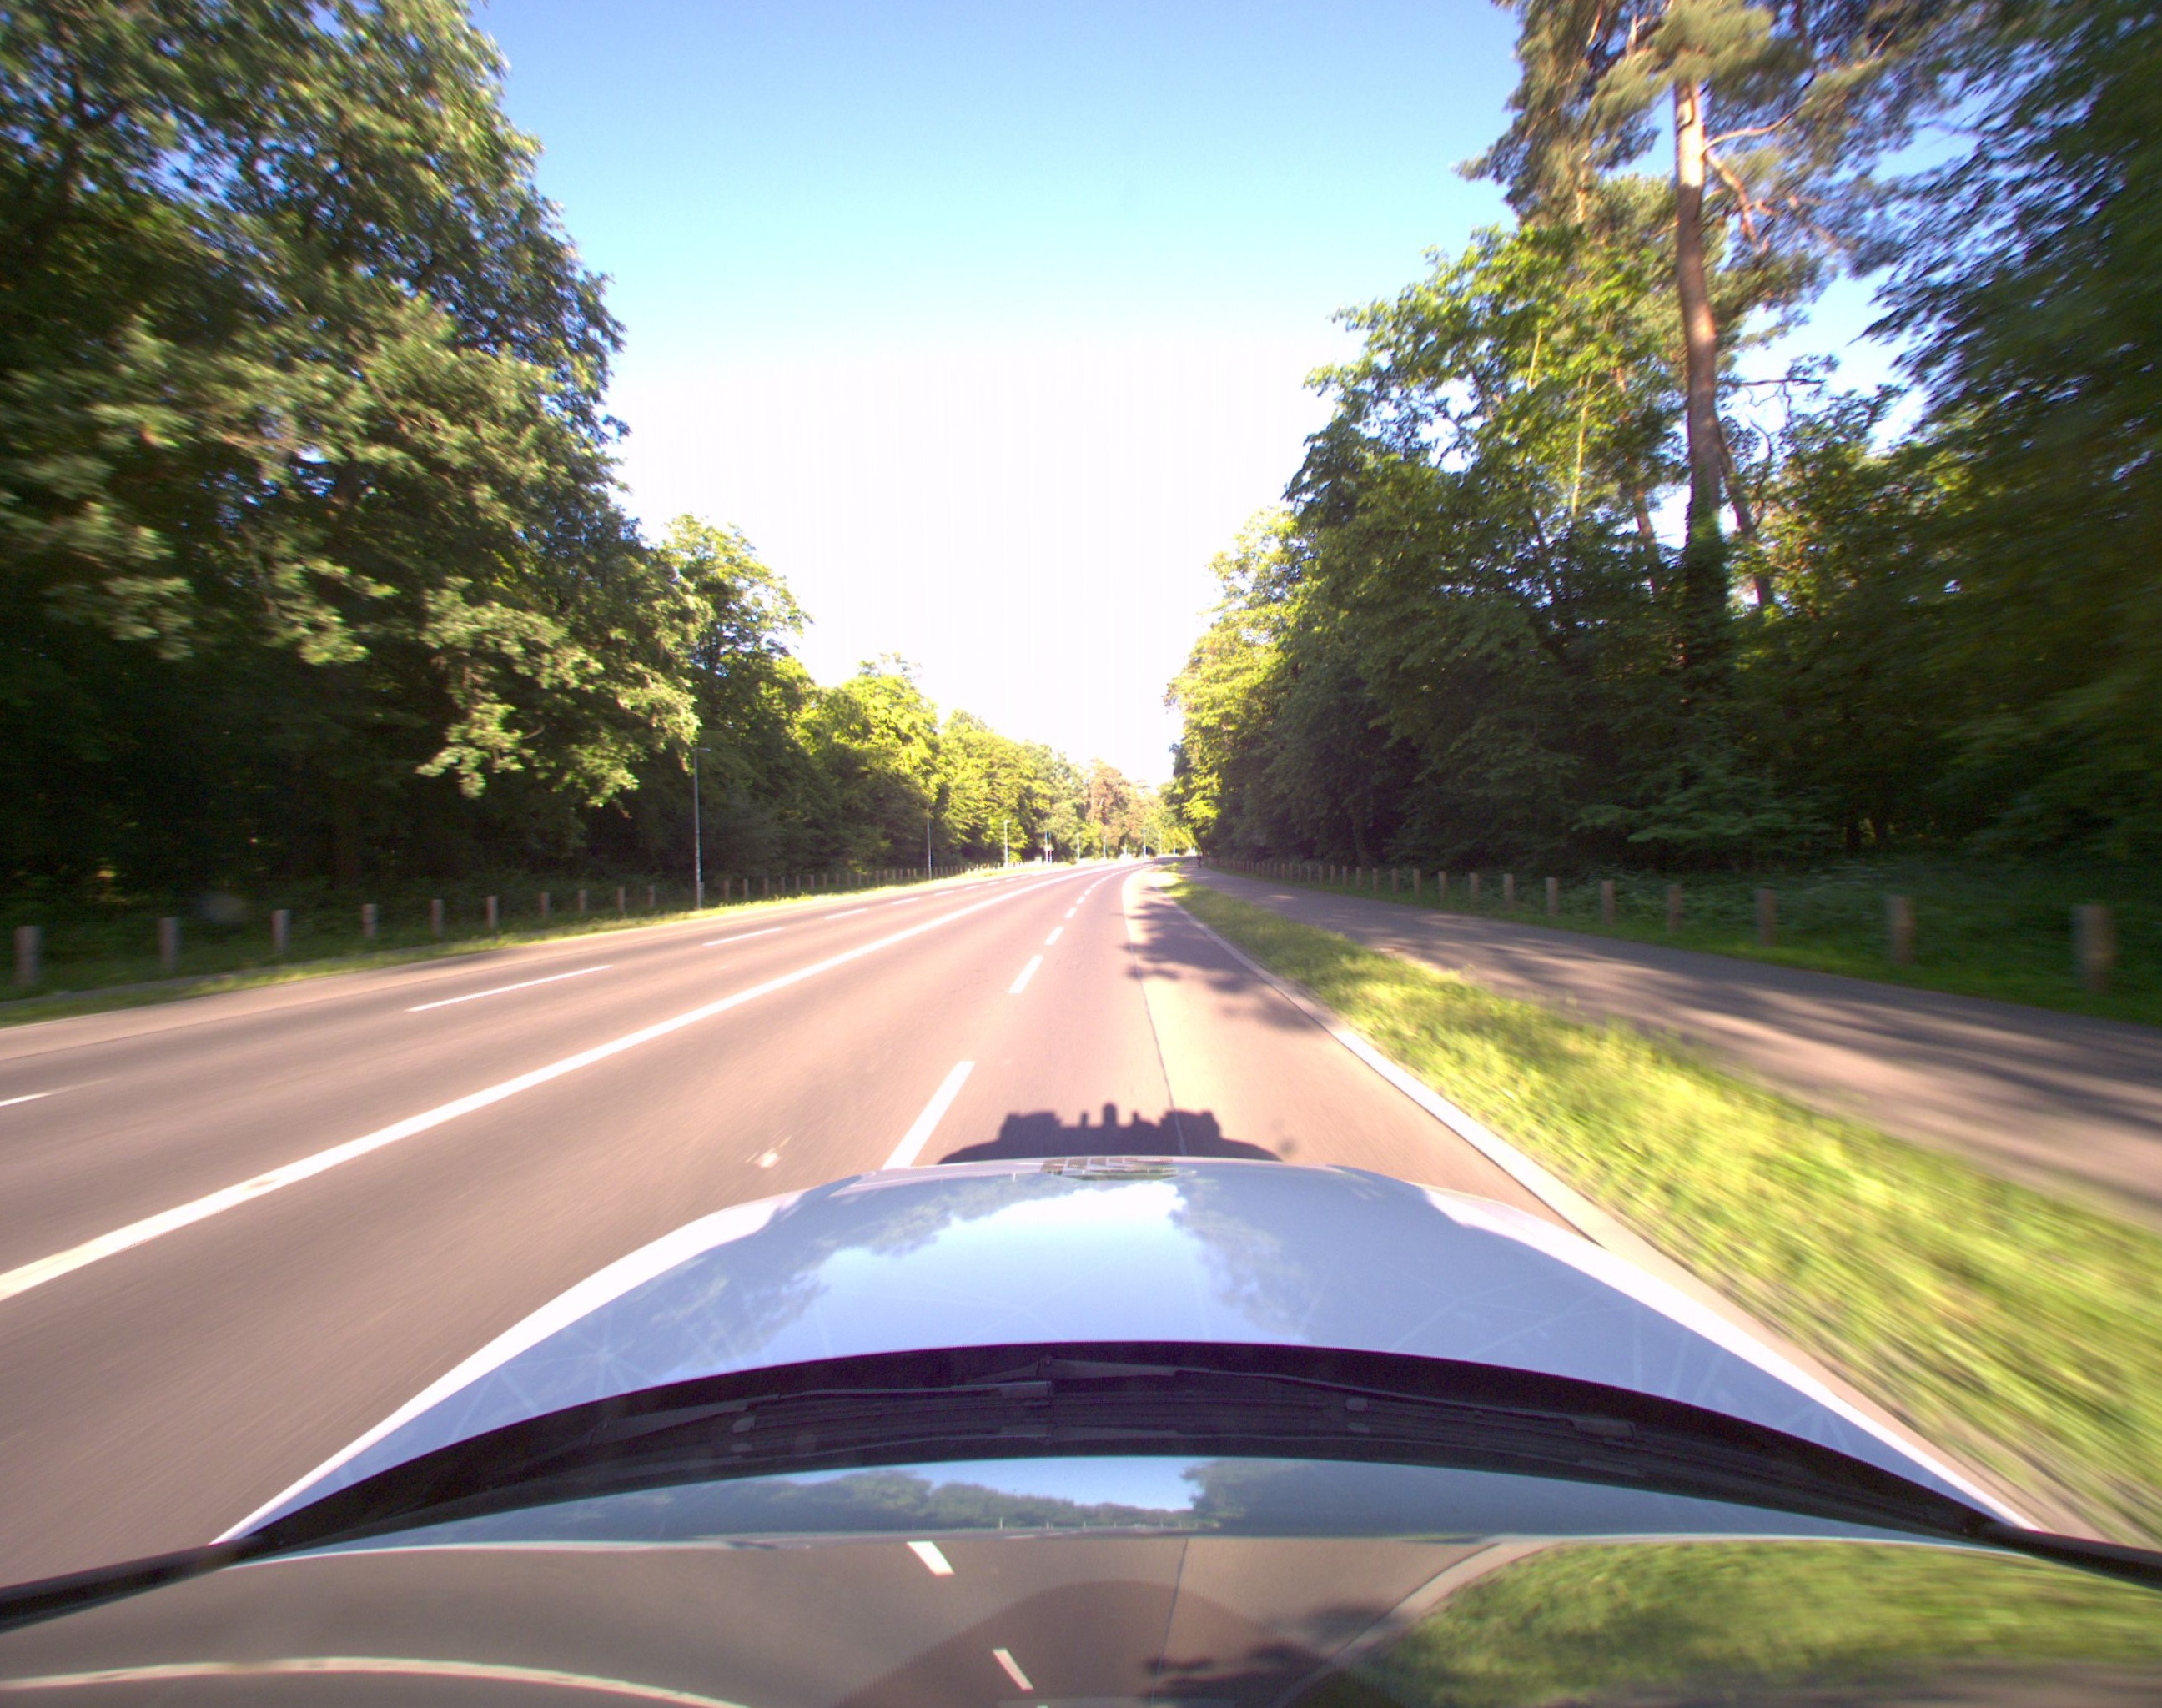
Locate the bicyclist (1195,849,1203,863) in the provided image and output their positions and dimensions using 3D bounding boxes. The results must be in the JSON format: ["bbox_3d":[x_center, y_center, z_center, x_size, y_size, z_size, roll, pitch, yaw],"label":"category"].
[{"bbox_3d":[11.061,0.148,76.507,0.708,1.288,1.107,-1,0,8],"label":"bicyclist"}]

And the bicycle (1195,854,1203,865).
[{"bbox_3d":[11.070,0.518,76.498,0.708,1.056,2.058,-1,0,9],"label":"bicycle"}]
